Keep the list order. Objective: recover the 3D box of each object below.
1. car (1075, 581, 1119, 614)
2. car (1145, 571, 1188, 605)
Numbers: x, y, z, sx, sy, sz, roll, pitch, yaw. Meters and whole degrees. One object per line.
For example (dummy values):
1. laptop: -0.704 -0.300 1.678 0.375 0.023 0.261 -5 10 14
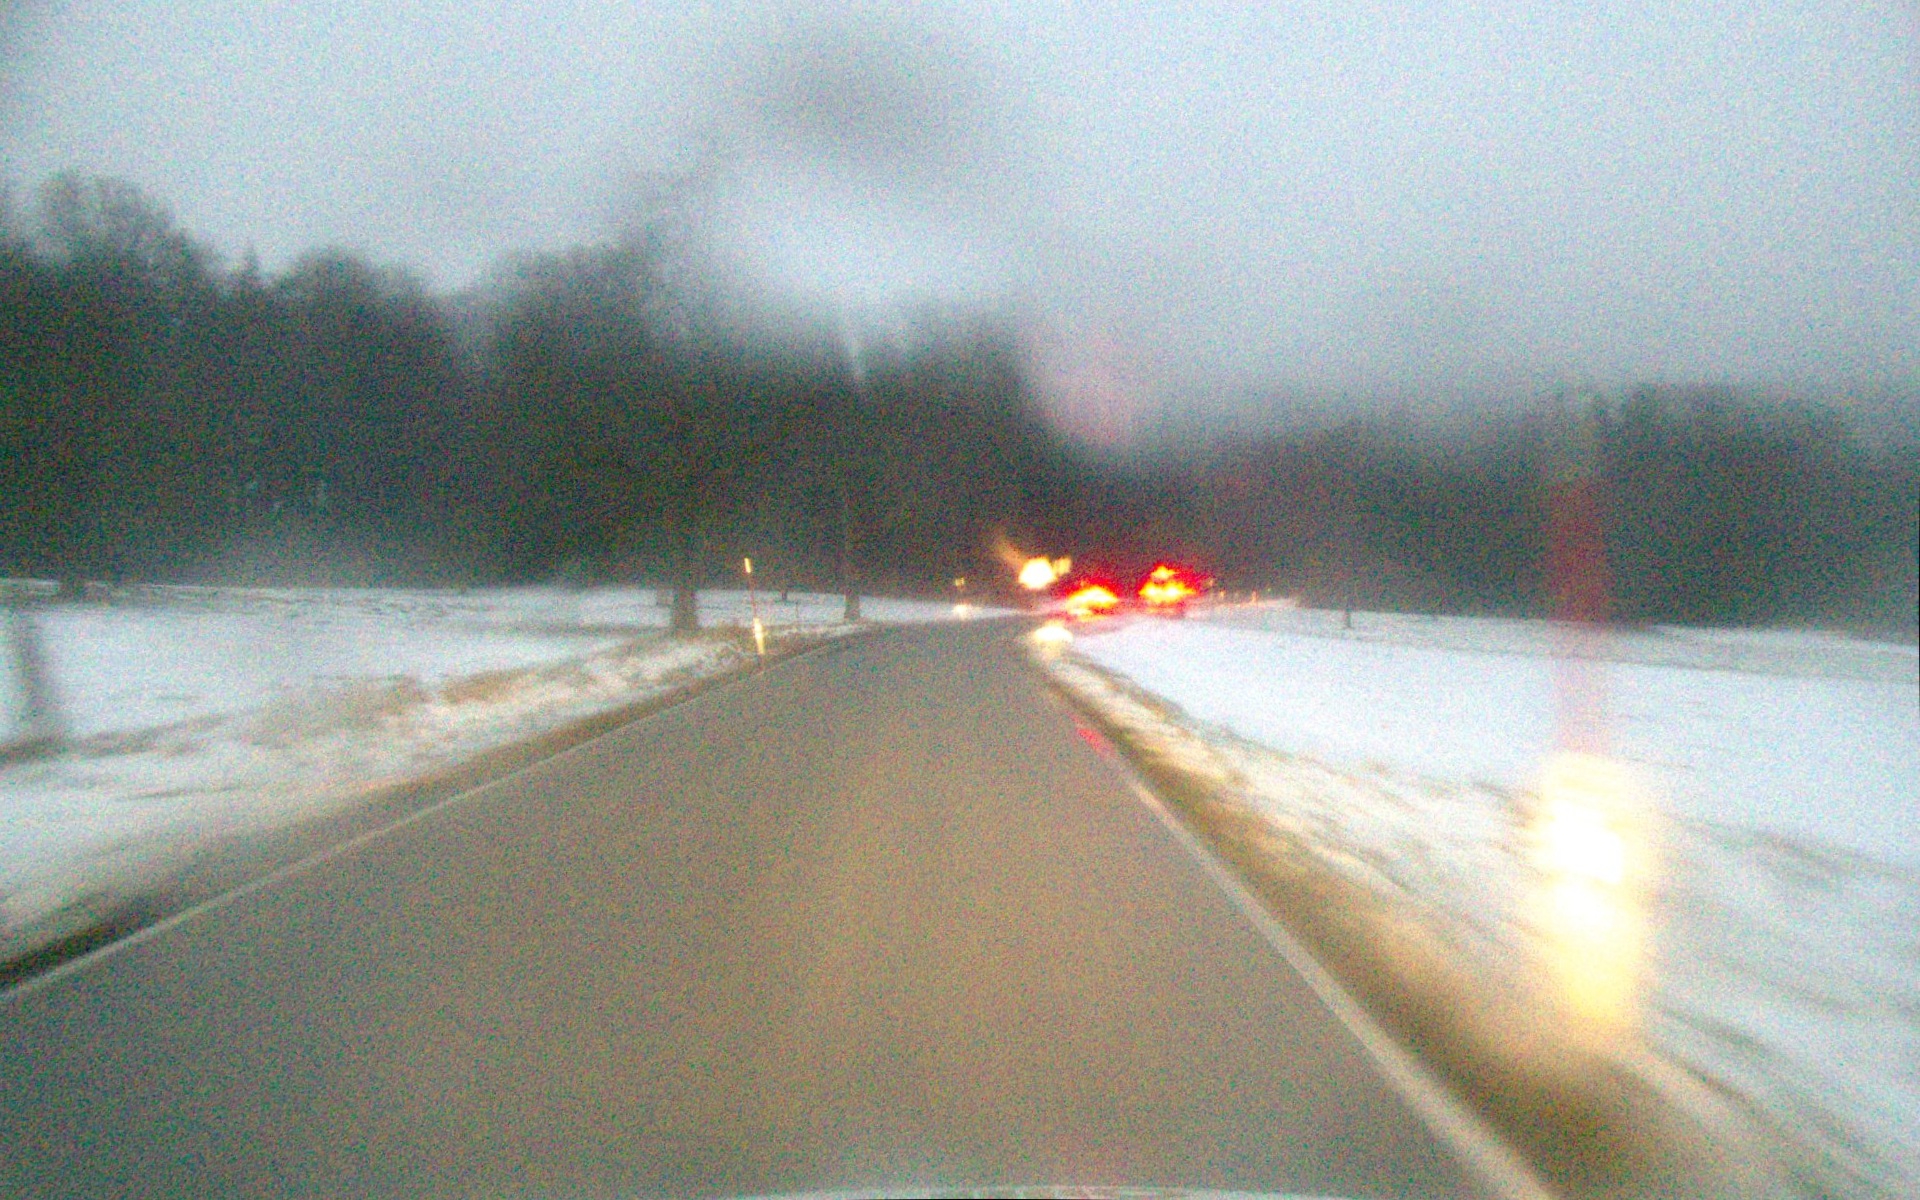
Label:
1. car: 9.155 -0.191 110.098 1.952 2.087 4.001 1 1 20
2. car: 16.771 -0.969 133.920 2.206 2.691 5.006 1 1 22
